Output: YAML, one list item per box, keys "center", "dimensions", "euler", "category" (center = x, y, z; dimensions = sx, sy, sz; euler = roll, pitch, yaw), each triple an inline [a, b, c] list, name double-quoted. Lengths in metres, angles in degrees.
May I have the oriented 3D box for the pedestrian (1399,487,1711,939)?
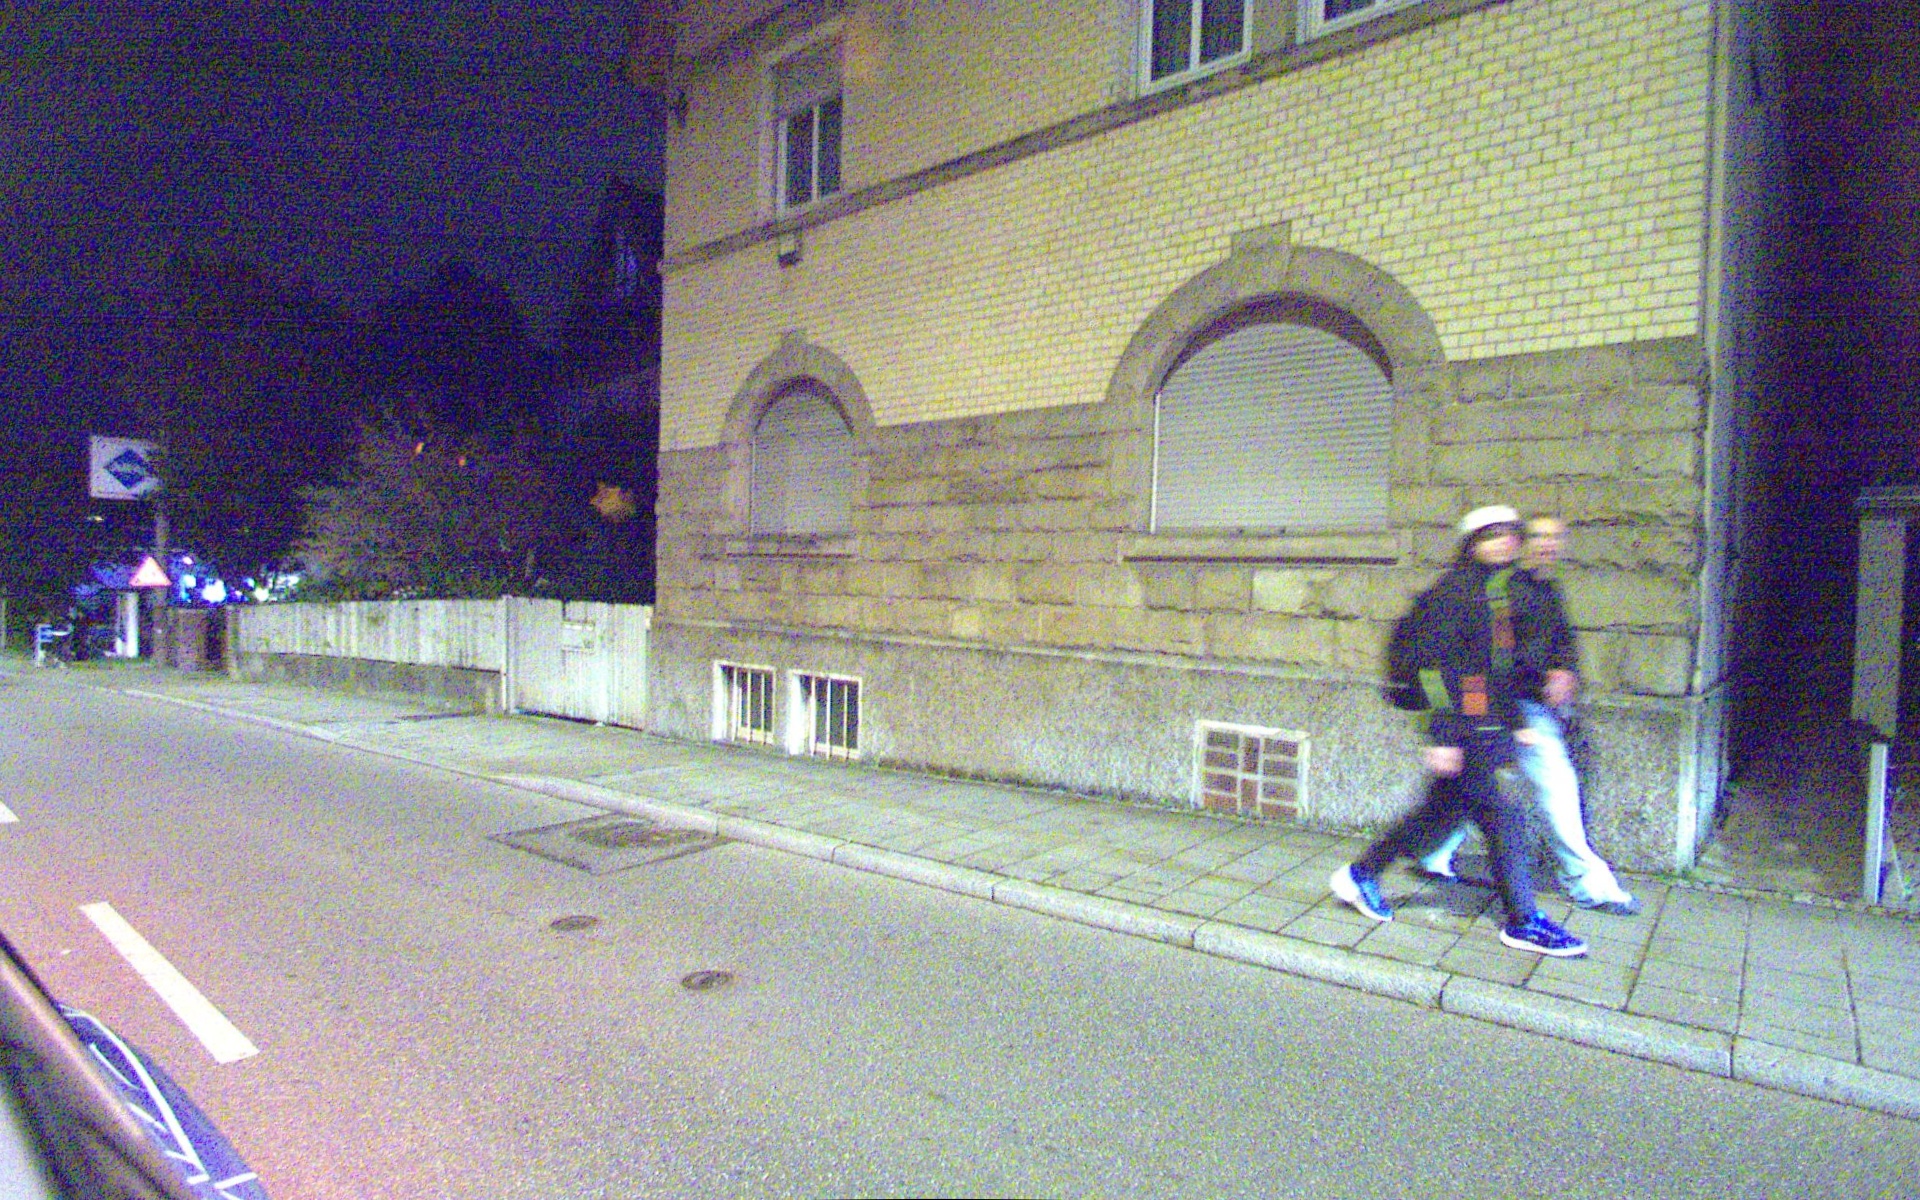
- center: [2.678, 0.441, 4.577]
  dimensions: [1.102, 1.758, 0.734]
  euler: [-1, 0, 40]
  category: "pedestrian"

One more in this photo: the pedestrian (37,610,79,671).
- center: [-25.566, 1.120, 28.672]
  dimensions: [1.102, 1.684, 0.734]
  euler: [-1, 0, 40]
  category: "pedestrian"

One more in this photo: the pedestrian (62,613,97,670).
- center: [-27.491, 1.283, 31.601]
  dimensions: [0.865, 1.739, 0.662]
  euler: [-1, -1, 38]
  category: "pedestrian"

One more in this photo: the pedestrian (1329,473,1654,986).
- center: [2.119, 0.445, 4.061]
  dimensions: [1.028, 1.758, 0.668]
  euler: [-1, 0, 40]
  category: "pedestrian"
